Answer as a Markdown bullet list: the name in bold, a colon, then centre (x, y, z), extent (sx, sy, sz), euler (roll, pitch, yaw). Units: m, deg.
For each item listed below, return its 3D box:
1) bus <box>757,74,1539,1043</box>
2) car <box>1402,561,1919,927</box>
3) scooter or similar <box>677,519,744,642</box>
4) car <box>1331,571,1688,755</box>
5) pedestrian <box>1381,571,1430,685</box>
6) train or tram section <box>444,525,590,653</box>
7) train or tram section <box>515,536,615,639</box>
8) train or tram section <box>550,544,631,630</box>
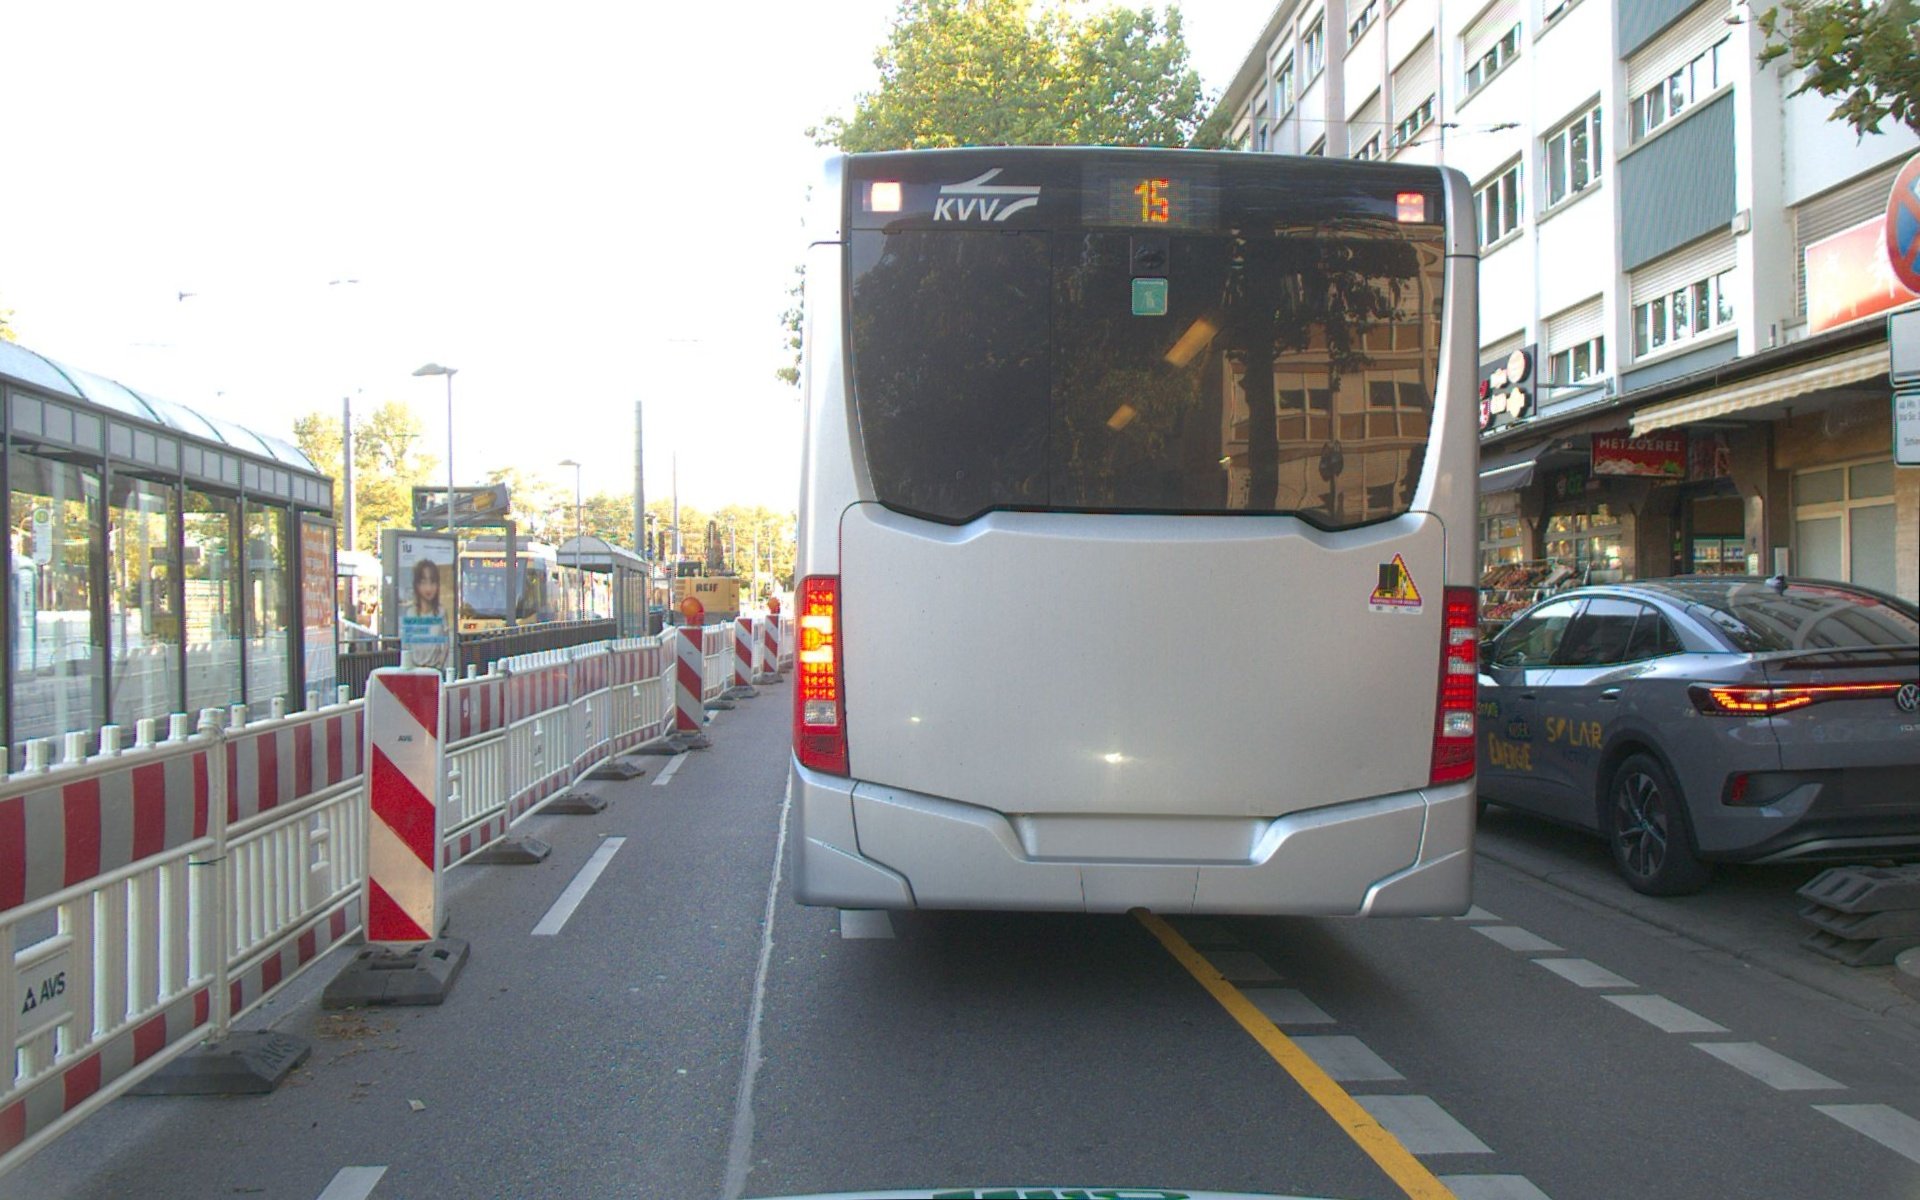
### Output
- **bus**: centre (0.586, -0.124, 9.520), extent (2.558, 3.181, 7.991), euler (1, 0, -1)
- **car**: centre (4.383, 0.630, 9.824), extent (1.955, 1.609, 4.363), euler (-3, 1, -5)
- **scooter or similar**: centre (-9.655, -0.733, 64.269), extent (2.422, 4.549, 5.962), euler (0, 0, -8)
- **car**: centre (5.586, 0.564, 17.480), extent (1.955, 1.609, 4.363), euler (-3, 1, -5)
- **pedestrian**: centre (6.795, 0.424, 25.245), extent (0.649, 1.696, 0.601), euler (-2, -1, 15)
- **train or tram section**: centre (-13.902, -0.295, 52.931), extent (2.634, 3.595, 11.756), euler (1, 0, -6)
- **train or tram section**: centre (-15.234, -0.427, 64.534), extent (2.636, 3.621, 11.560), euler (1, 0, -8)
- **train or tram section**: centre (-16.814, -0.523, 75.930), extent (2.636, 3.594, 11.560), euler (1, 0, -8)
